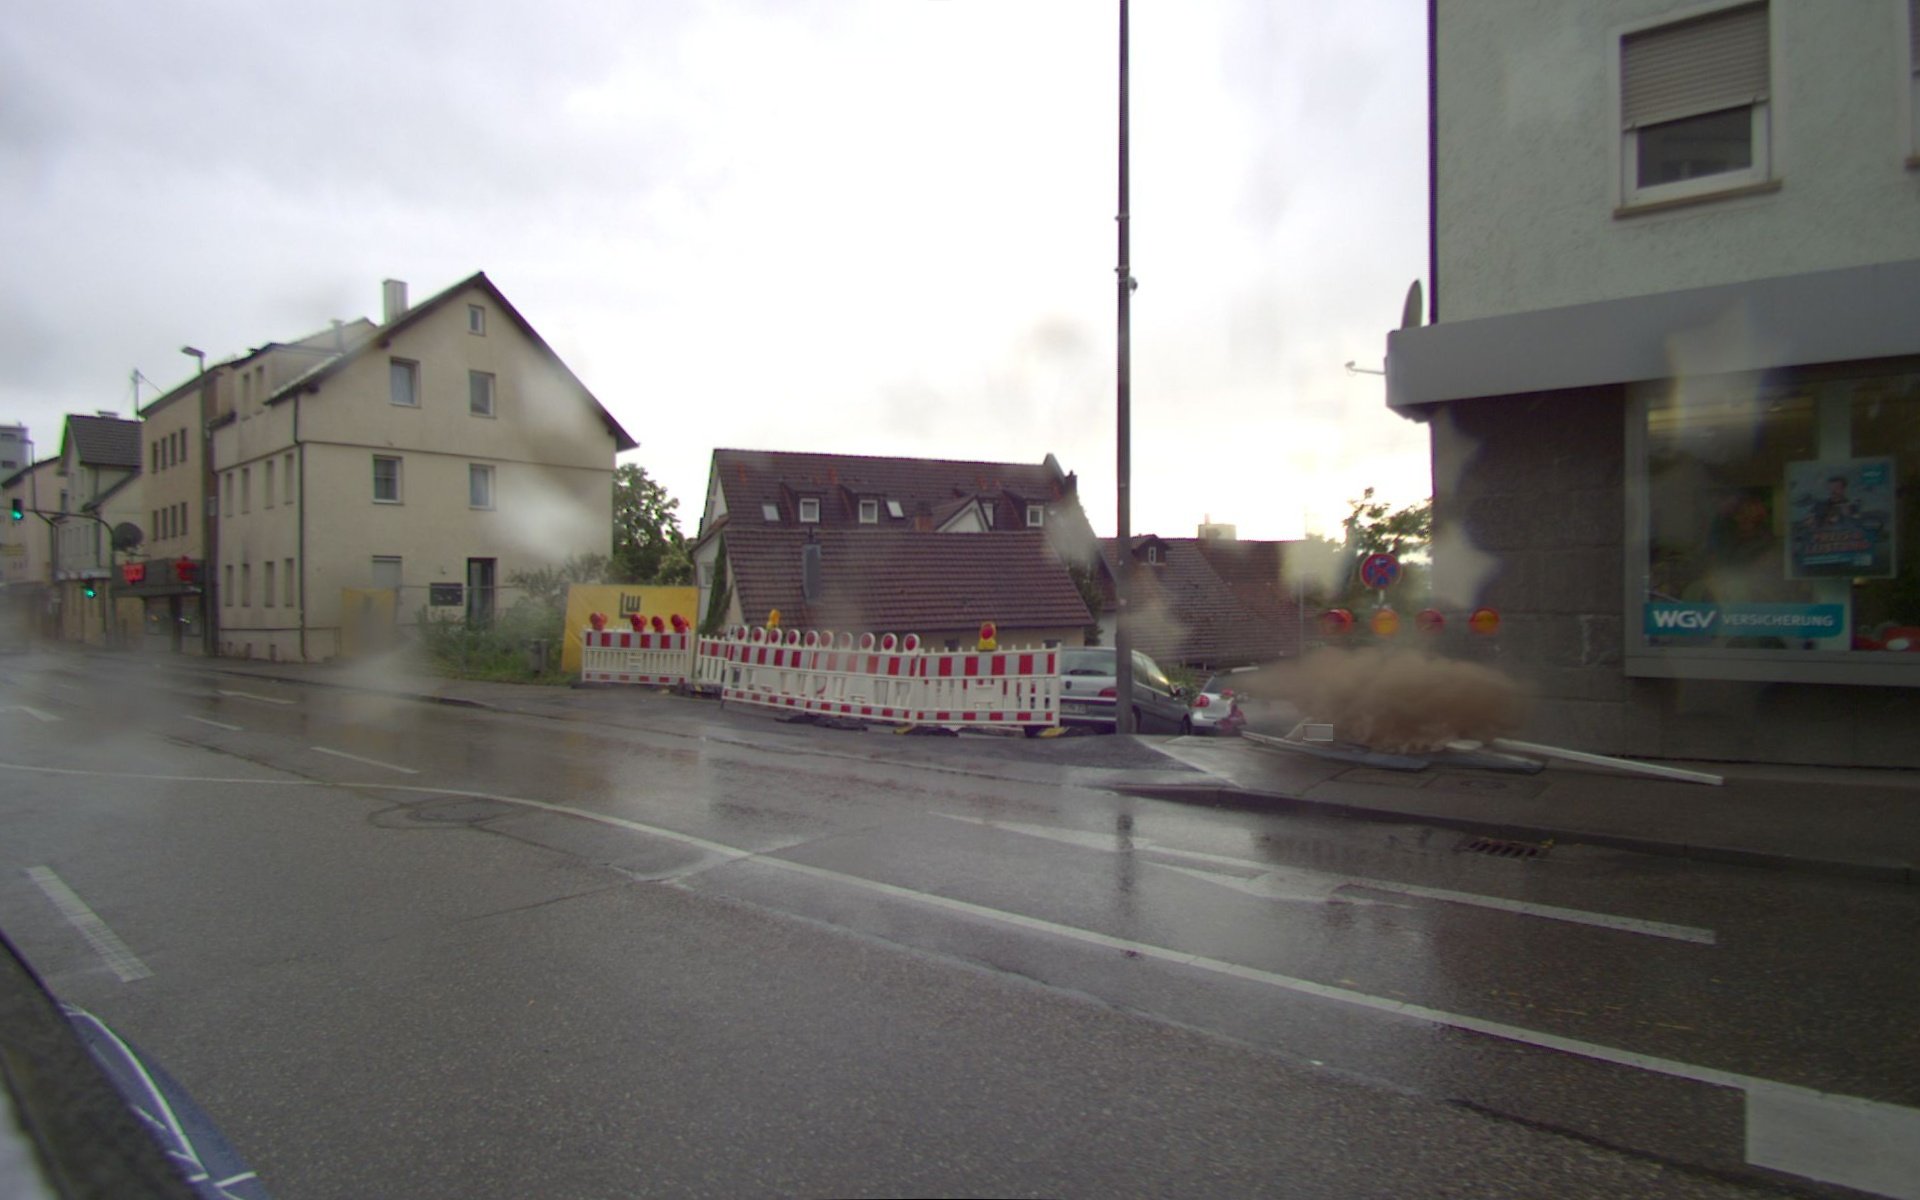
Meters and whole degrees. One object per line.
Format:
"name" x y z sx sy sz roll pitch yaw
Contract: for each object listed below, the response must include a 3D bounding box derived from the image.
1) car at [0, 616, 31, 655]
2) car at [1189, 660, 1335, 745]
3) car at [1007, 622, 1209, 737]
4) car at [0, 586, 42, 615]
"car" -40.128 1.465 42.119 4.274 1.583 1.796 -1 -1 42
"car" 5.322 1.833 17.604 1.496 1.321 3.417 -4 -9 33
"car" 2.222 1.216 14.463 1.645 1.401 3.473 -3 -9 31
"car" -86.220 0.079 90.409 2.637 2.539 6.426 -2 1 -2
